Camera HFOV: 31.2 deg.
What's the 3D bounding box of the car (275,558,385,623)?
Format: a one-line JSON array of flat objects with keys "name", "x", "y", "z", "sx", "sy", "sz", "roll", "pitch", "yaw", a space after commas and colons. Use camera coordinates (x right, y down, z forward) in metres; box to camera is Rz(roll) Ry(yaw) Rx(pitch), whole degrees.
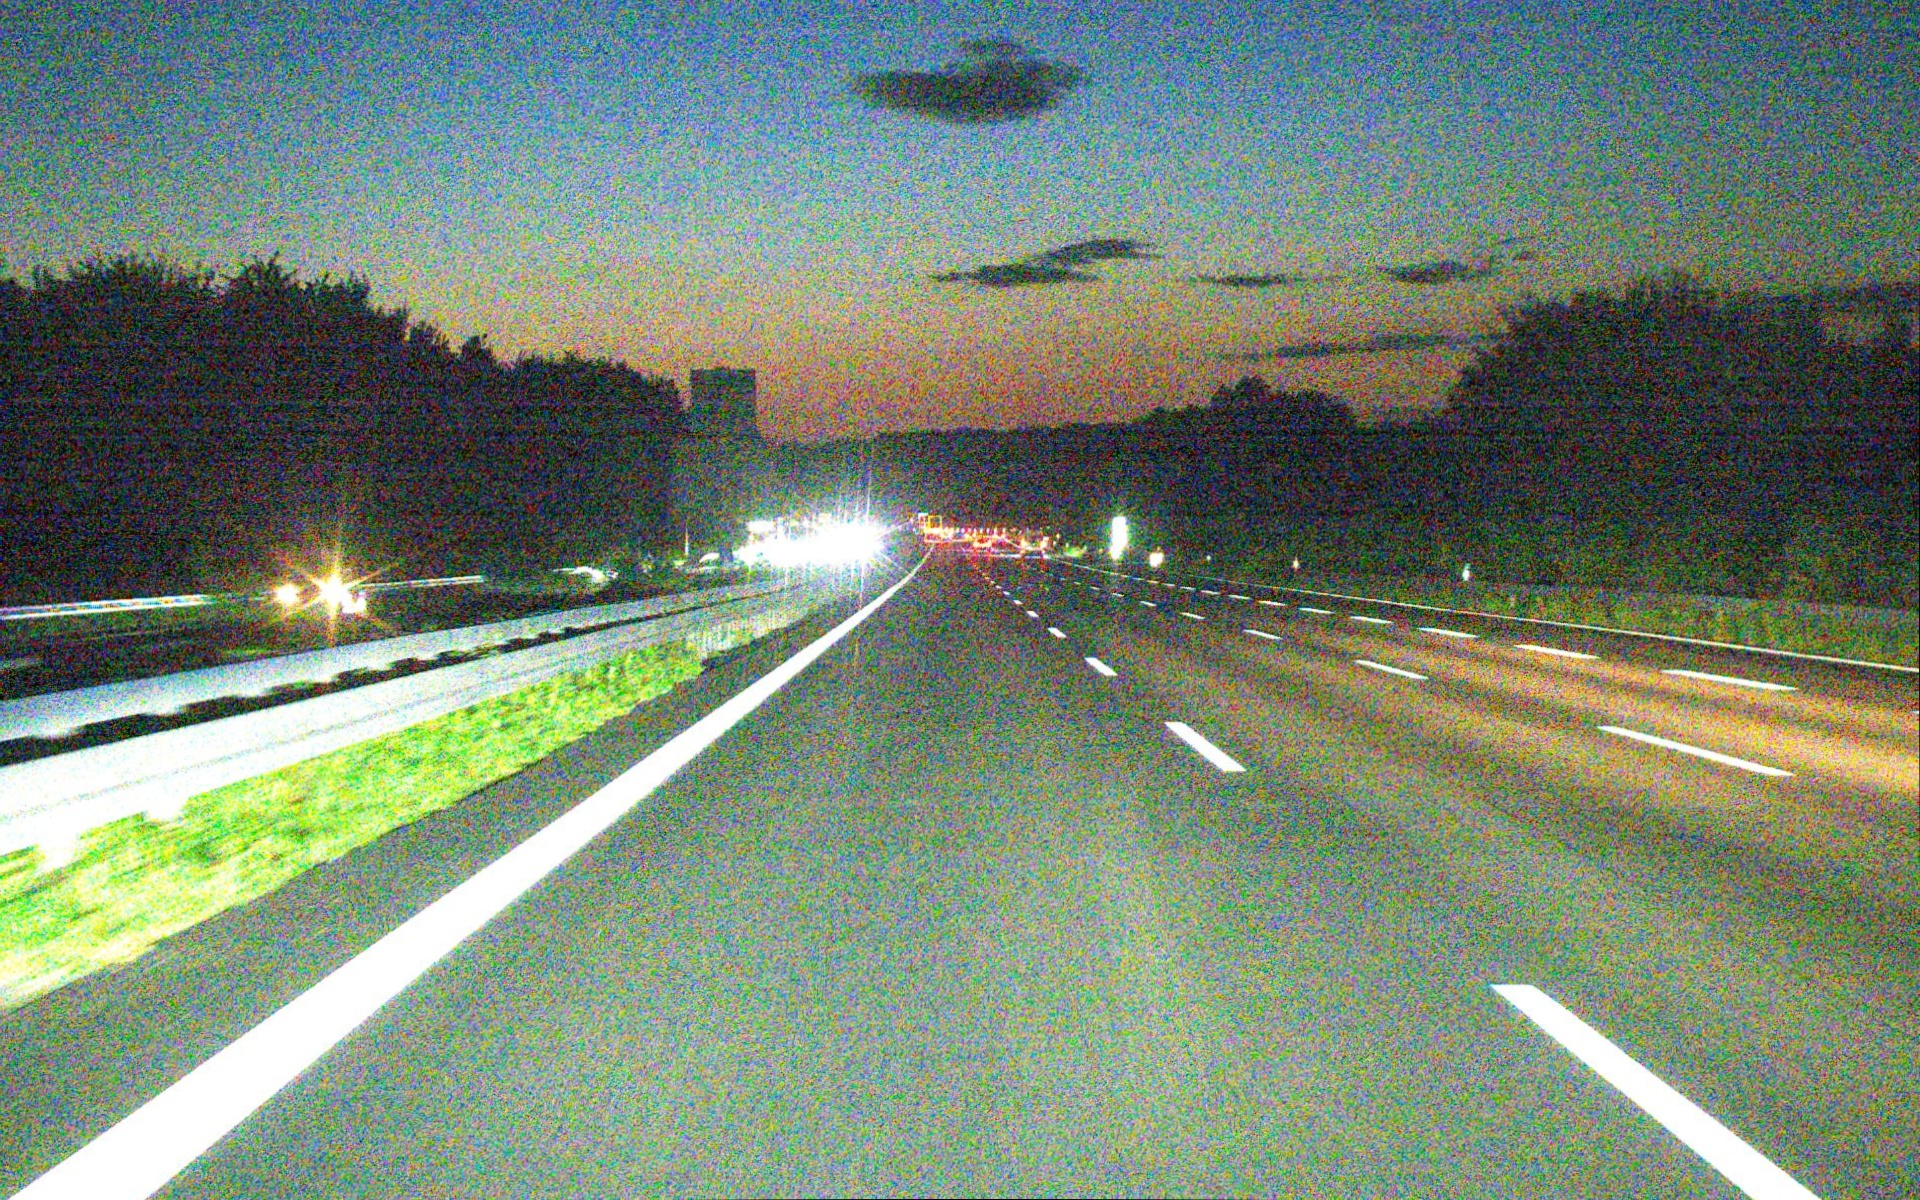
[{"name": "car", "x": -16.889, "y": -0.274, "z": 92.391, "sx": 1.993, "sy": 1.546, "sz": 5.005, "roll": -4, "pitch": 1, "yaw": 0}]
